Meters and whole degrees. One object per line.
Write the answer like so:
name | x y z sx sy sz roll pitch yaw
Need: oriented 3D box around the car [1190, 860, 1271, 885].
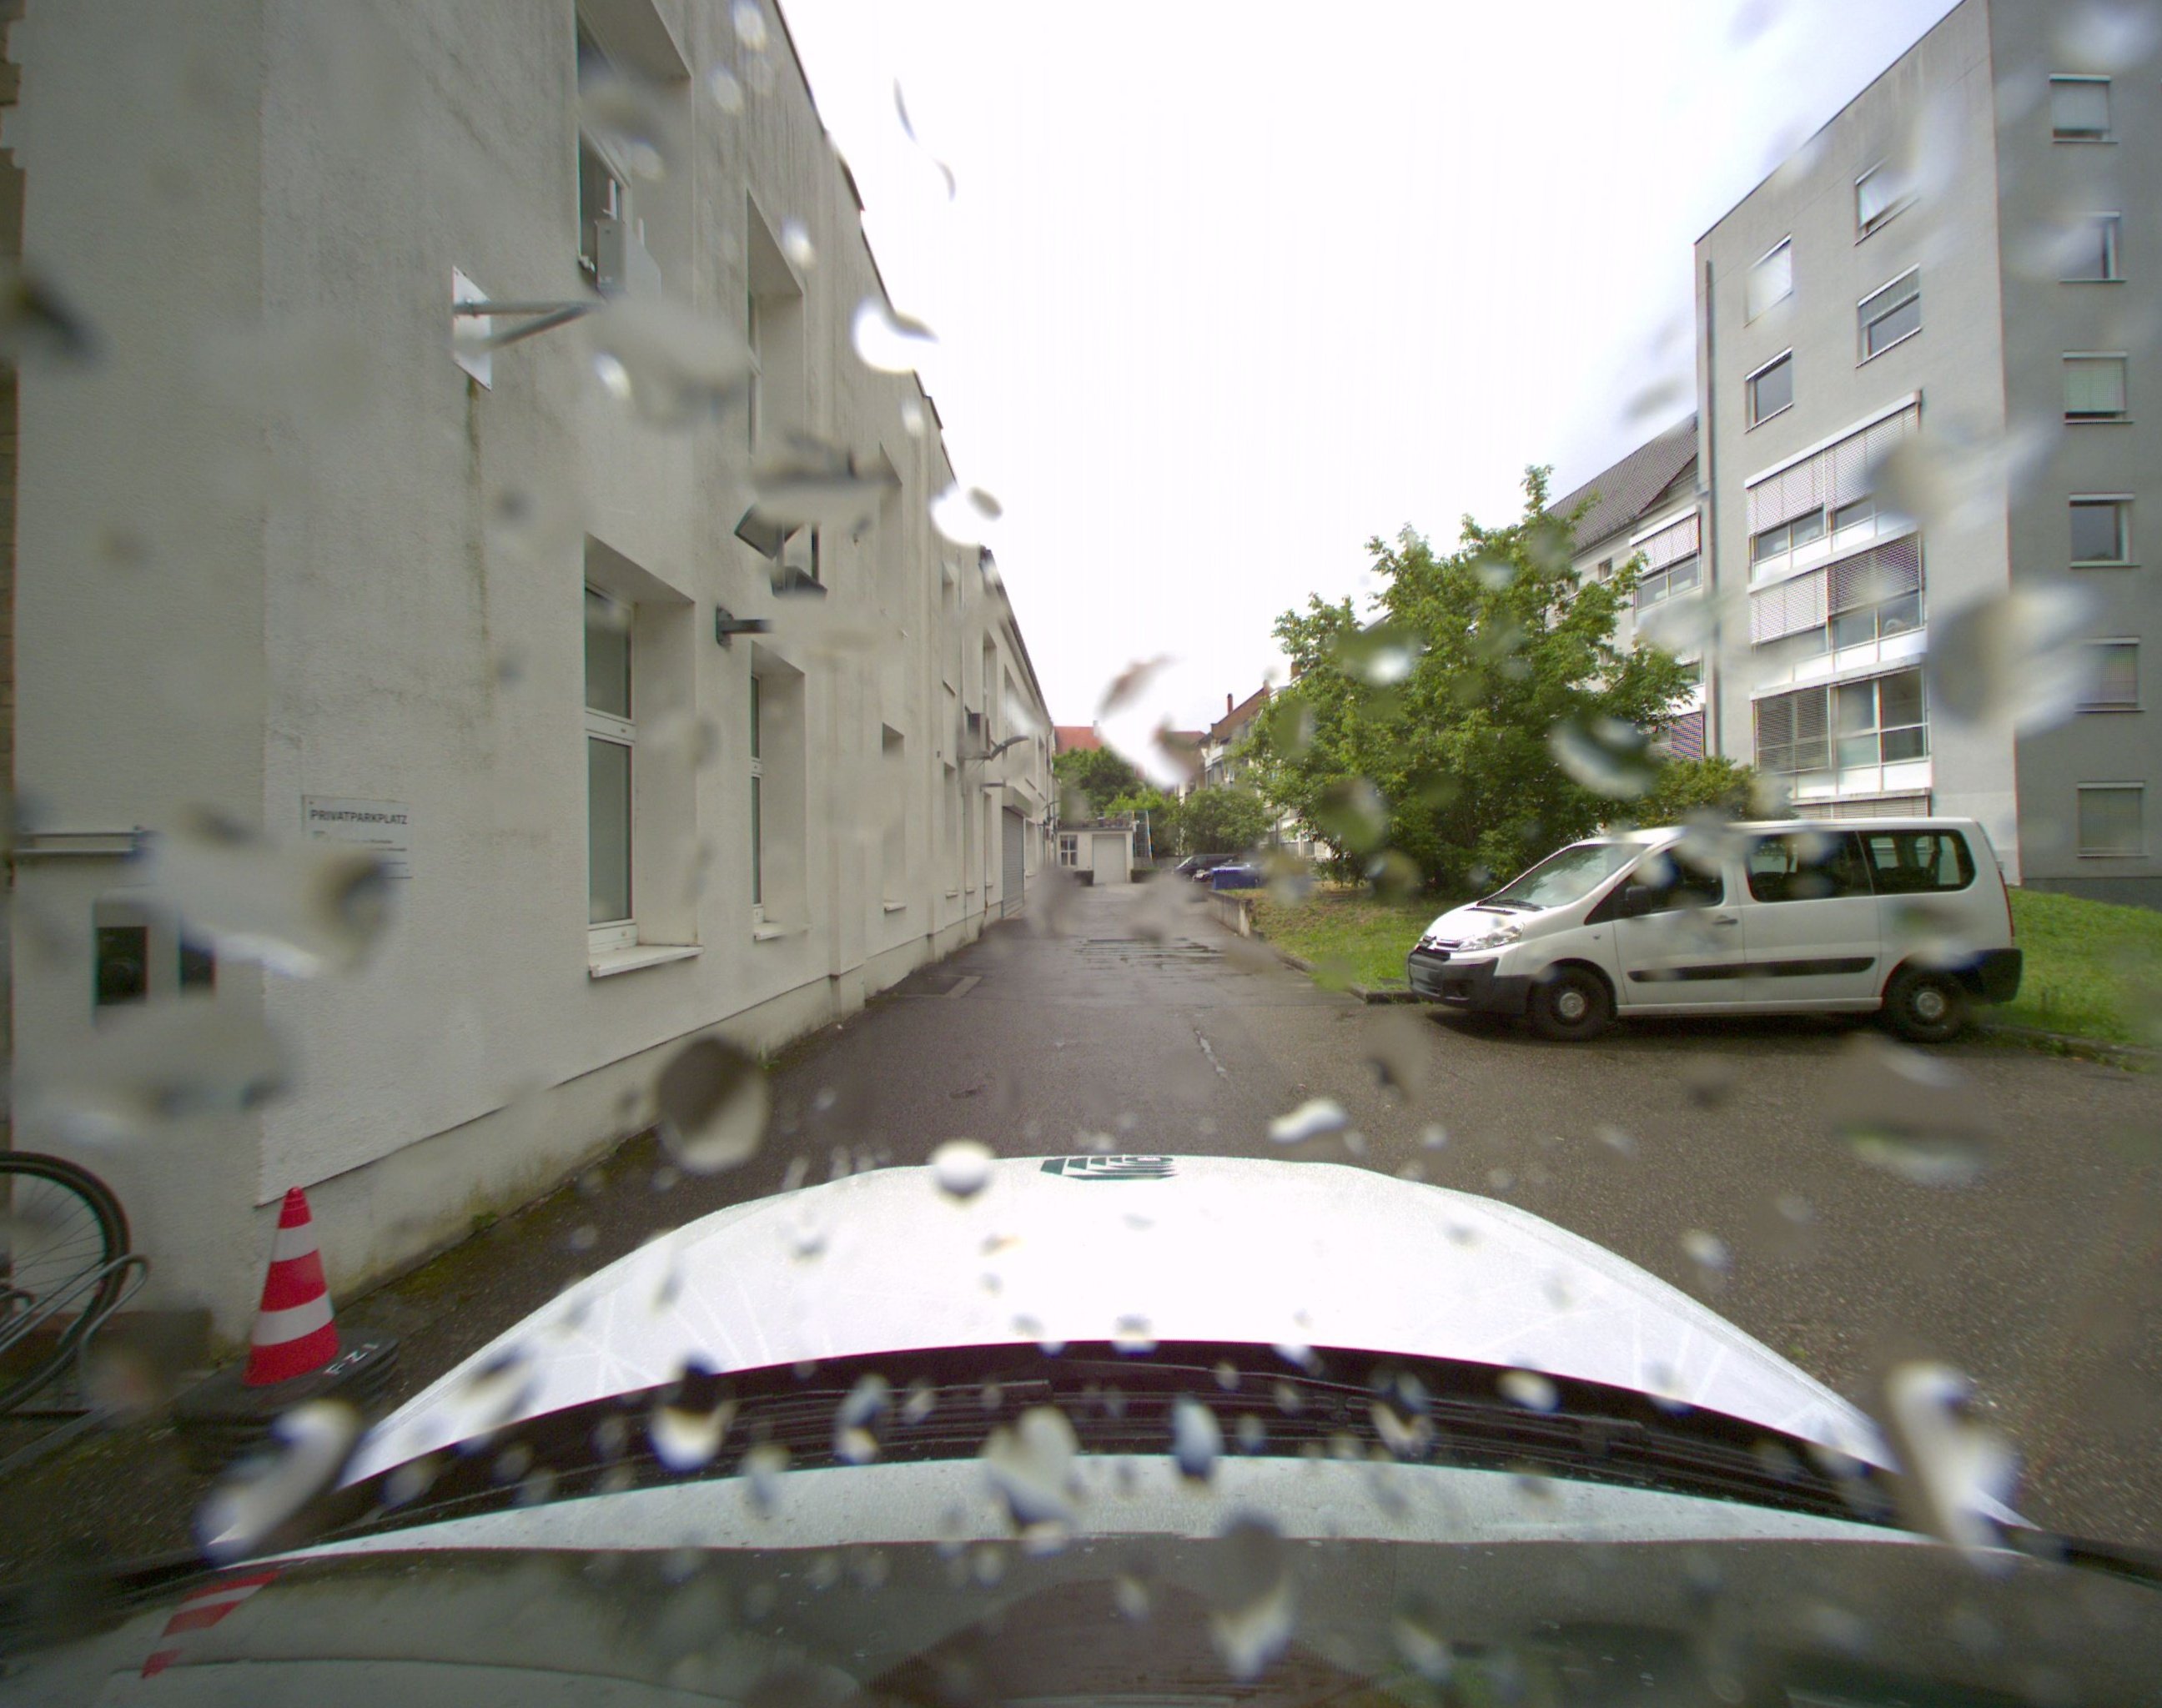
car | 8.785 1.087 48.029 4.348 1.348 1.856 -1 0 -6

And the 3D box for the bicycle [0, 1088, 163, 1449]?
bicycle | -2.961 1.102 1.370 0.450 0.799 2.058 1 1 2

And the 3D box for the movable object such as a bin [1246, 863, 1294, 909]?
movable object such as a bin | 5.790 0.971 25.017 1.225 1.317 1.056 -1 0 0

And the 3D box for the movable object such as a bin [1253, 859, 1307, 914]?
movable object such as a bin | 5.674 0.908 23.260 1.270 1.483 1.102 1 0 0

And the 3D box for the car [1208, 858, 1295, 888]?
car | 9.061 1.008 43.445 4.165 1.401 1.935 -2 -1 -6

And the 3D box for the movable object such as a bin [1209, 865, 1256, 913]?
movable object such as a bin | 4.320 0.989 23.306 1.170 1.317 1.056 1 0 0

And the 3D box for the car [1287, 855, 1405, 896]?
car | 10.277 0.814 31.747 3.974 1.354 1.791 -3 -1 0

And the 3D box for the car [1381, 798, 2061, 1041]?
car | 5.706 0.562 7.881 4.914 2.014 2.002 0 -1 4

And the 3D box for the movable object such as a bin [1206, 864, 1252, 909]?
movable object such as a bin | 4.527 0.988 25.023 1.225 1.317 1.056 -1 0 0

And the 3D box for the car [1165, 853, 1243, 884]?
car | 8.073 0.951 53.800 4.703 1.833 2.106 -2 0 -6

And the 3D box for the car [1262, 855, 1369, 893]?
car | 9.976 0.862 34.873 4.070 1.458 1.666 -1 -2 -3

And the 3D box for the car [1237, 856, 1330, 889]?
car | 9.916 0.915 40.049 4.089 1.455 1.831 -2 -1 -4
